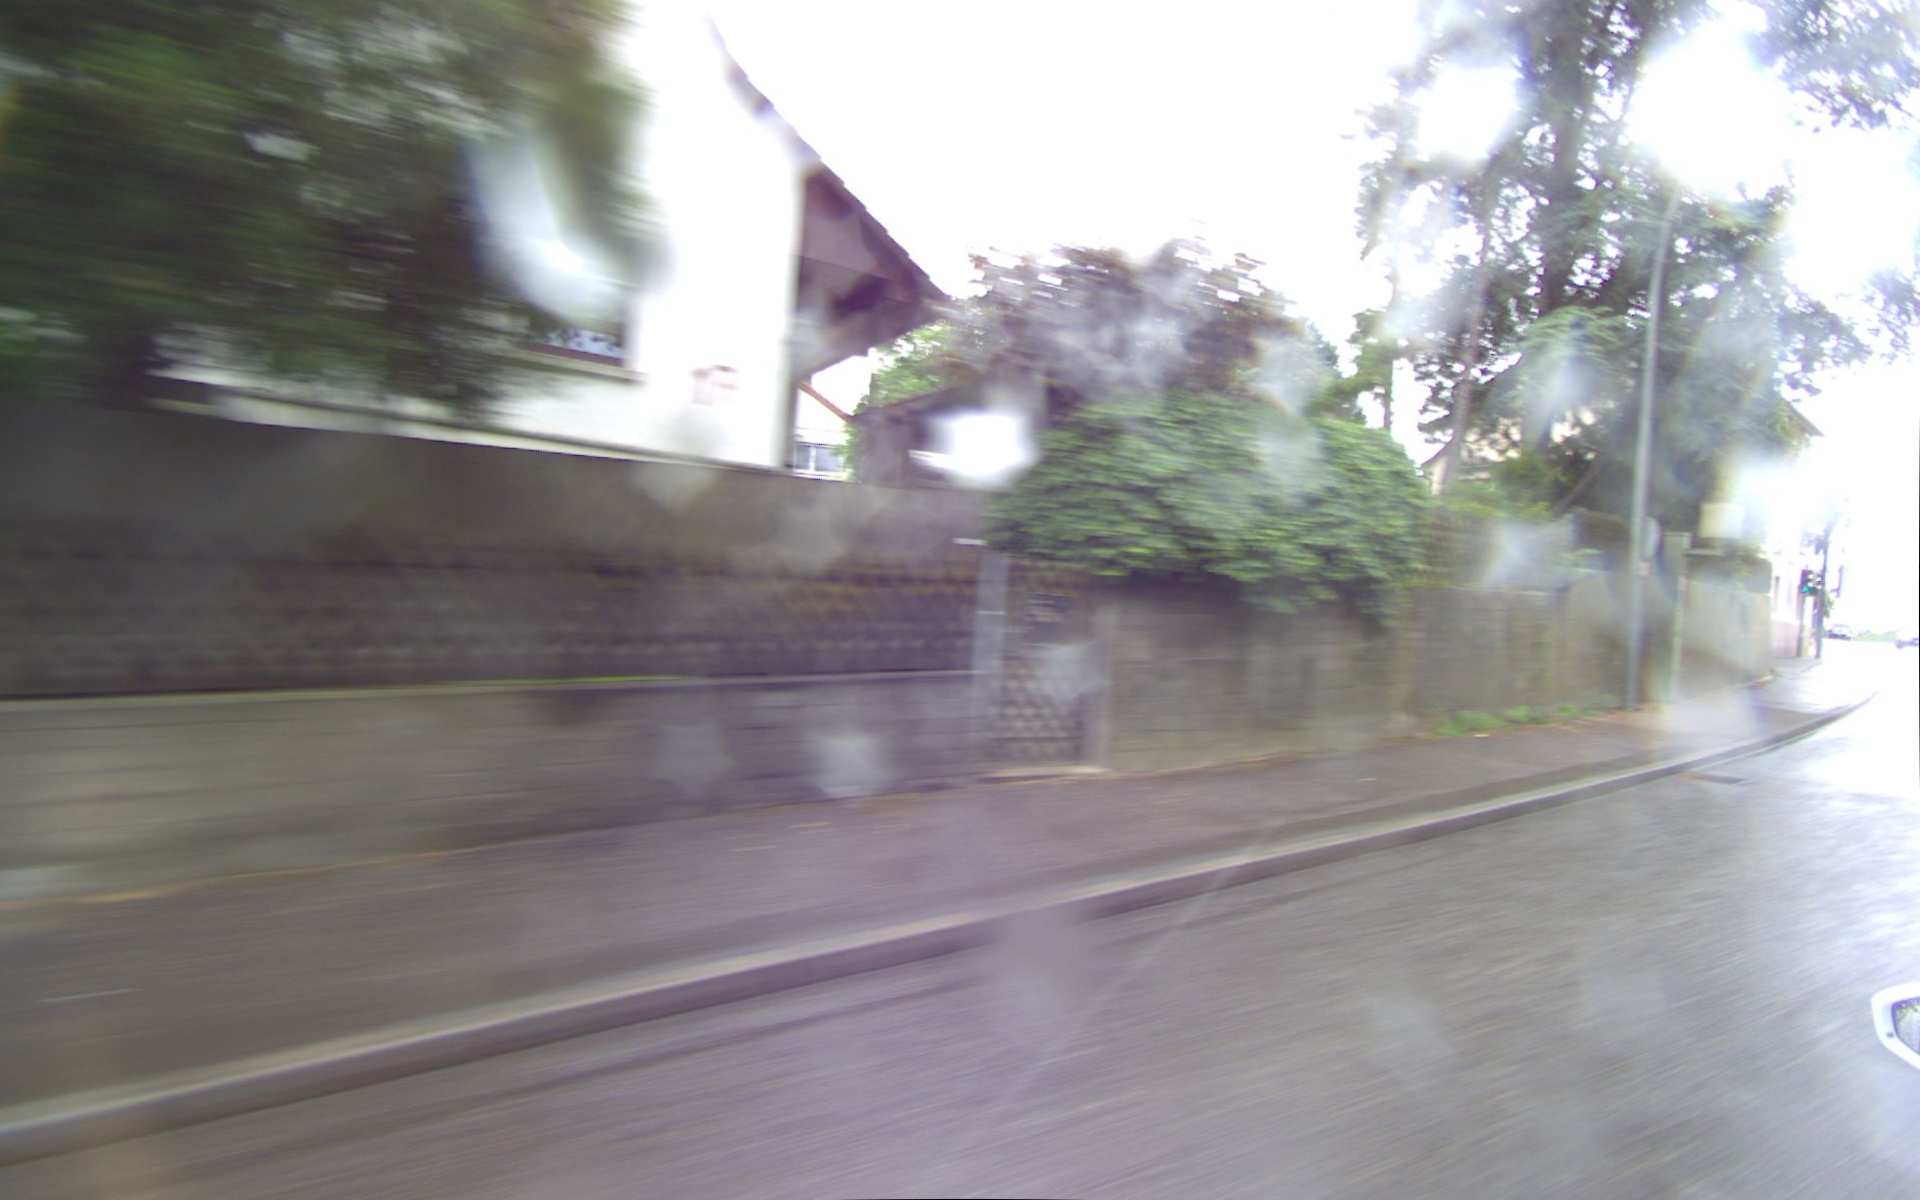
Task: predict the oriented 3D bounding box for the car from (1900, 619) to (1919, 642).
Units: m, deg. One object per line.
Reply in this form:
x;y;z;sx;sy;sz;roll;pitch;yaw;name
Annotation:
70.073;2.221;72.956;1.917;1.595;4.213;2;1;34;car

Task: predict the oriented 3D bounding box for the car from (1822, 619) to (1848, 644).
105.078;3.786;120.657;2.071;2.684;5.887;5;1;42;car

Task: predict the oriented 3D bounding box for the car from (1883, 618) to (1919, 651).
52.737;1.904;55.847;1.971;1.729;3.979;2;1;42;car
